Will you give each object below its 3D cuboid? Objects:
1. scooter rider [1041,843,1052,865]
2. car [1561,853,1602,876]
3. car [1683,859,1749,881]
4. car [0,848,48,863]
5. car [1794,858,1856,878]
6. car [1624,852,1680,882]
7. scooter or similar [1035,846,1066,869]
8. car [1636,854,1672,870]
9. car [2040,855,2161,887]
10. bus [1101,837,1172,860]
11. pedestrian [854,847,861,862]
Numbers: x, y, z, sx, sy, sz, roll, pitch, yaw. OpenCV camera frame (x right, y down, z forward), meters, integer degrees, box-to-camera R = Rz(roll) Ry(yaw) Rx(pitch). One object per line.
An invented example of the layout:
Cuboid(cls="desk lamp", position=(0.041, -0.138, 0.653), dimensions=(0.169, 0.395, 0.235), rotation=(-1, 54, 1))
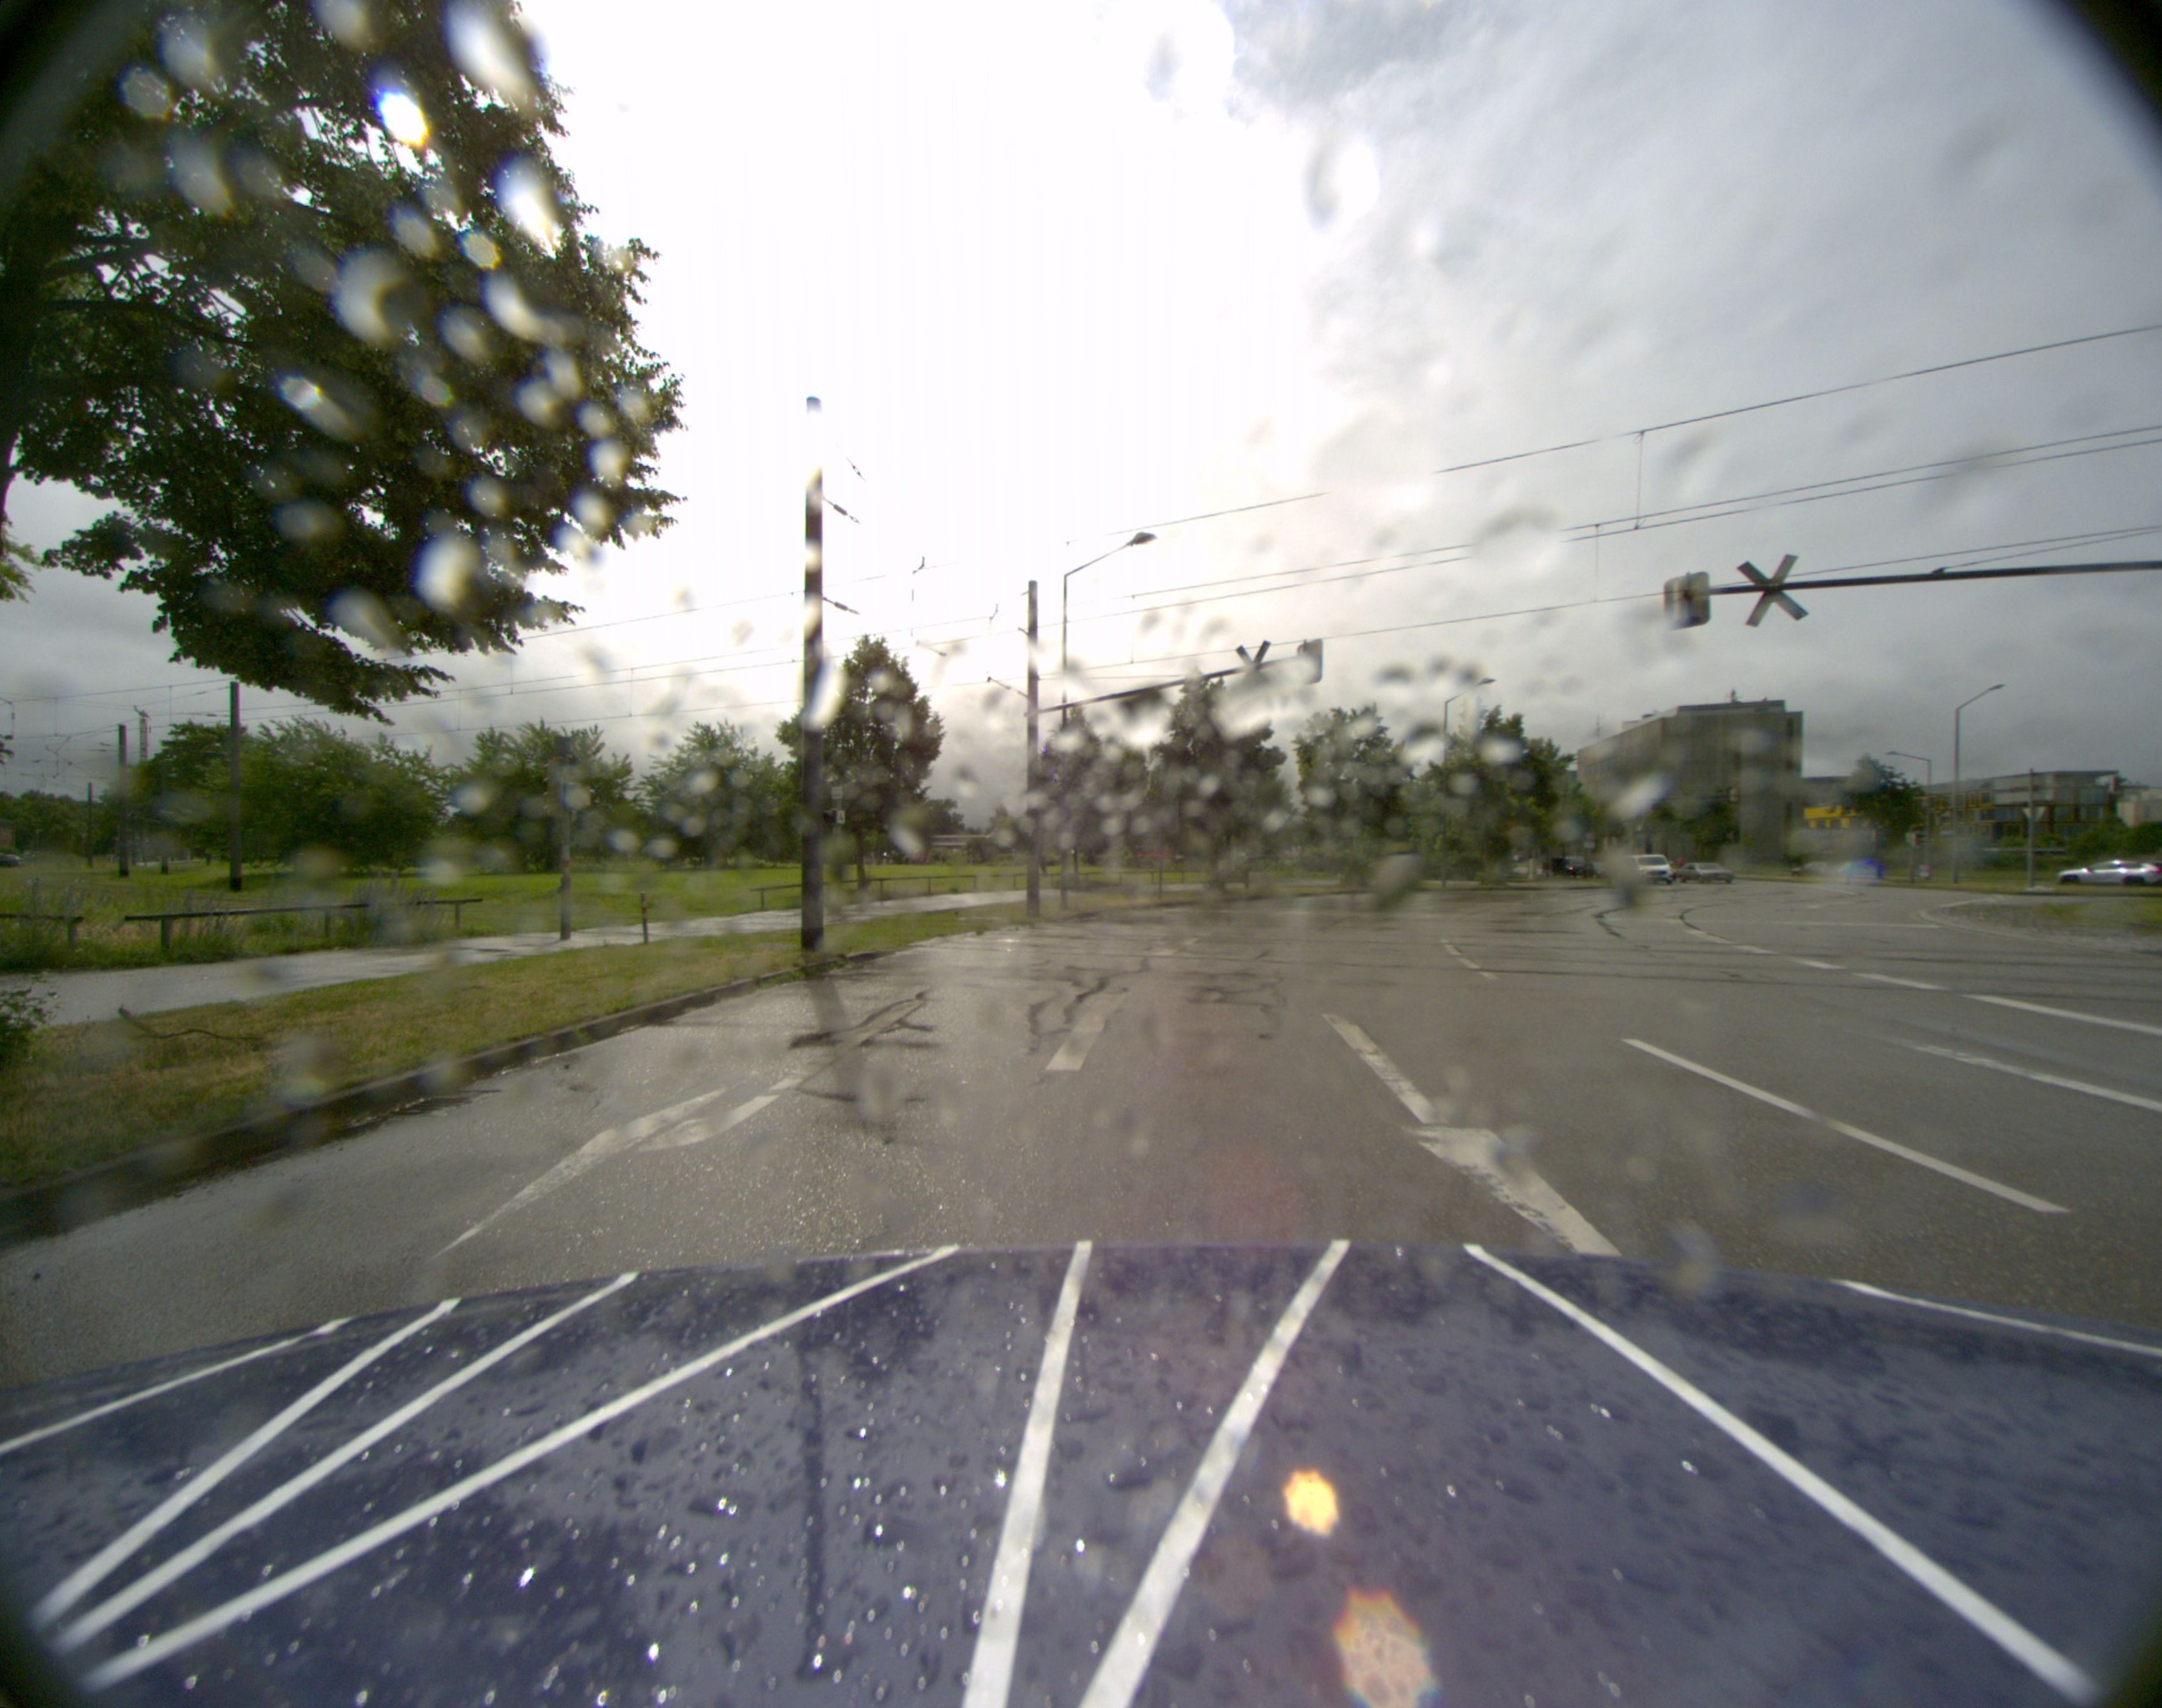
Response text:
Cuboid(cls="scooter rider", position=(-3.185, -0.030, 70.464), dimensions=(0.707, 2.001, 0.768), rotation=(0, -1, -38))
Cuboid(cls="car", position=(46.020, 0.978, 70.024), dimensions=(2.074, 1.976, 4.808), rotation=(1, 0, 20))
Cuboid(cls="car", position=(43.275, 1.080, 51.912), dimensions=(1.864, 1.372, 4.558), rotation=(-1, 0, 17))
Cuboid(cls="car", position=(-113.269, 0.167, 80.436), dimensions=(4.413, 1.550, 1.845), rotation=(-1, 1, -44))
Cuboid(cls="car", position=(56.311, 1.077, 57.603), dimensions=(1.731, 1.405, 4.135), rotation=(0, -1, 19))
Cuboid(cls="car", position=(39.780, 0.874, 53.060), dimensions=(2.073, 1.976, 4.809), rotation=(1, 0, 23))
Cuboid(cls="scooter or similar", position=(-2.828, 0.322, 69.775), dimensions=(1.242, 2.001, 3.401), rotation=(0, -2, -35))
Cuboid(cls="car", position=(65.049, 0.865, 86.319), dimensions=(1.863, 1.752, 4.558), rotation=(1, 0, 18))
Cuboid(cls="car", position=(56.211, 0.887, 41.498), dimensions=(1.875, 1.653, 4.482), rotation=(0, -1, -3))
Cuboid(cls="bus", position=(8.837, -0.874, 120.809), dimensions=(10.970, 3.439, 2.002), rotation=(-1, -1, 9))
Cuboid(cls="pedestrian", position=(-25.884, 0.016, 87.882), dimensions=(0.607, 1.721, 0.598), rotation=(0, -1, -40))
